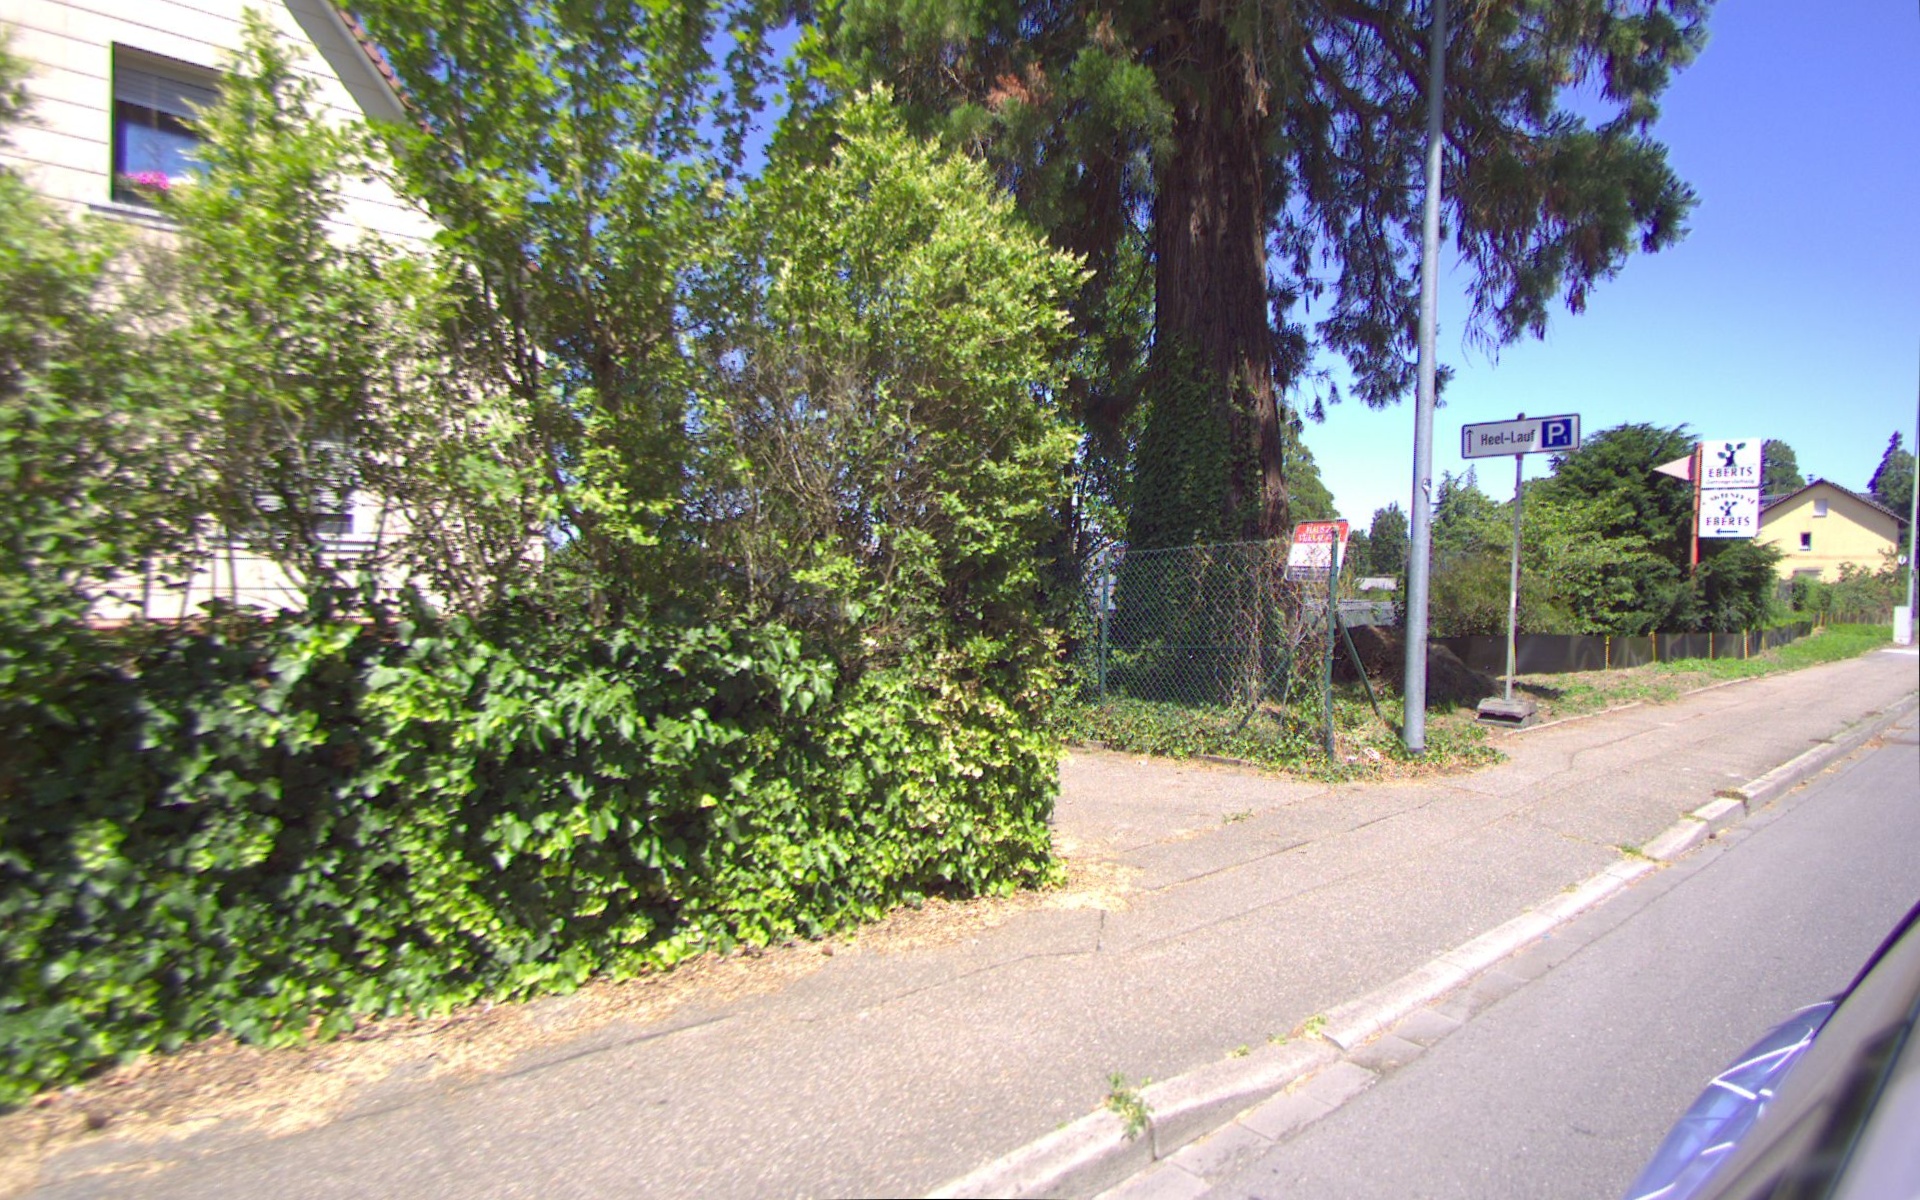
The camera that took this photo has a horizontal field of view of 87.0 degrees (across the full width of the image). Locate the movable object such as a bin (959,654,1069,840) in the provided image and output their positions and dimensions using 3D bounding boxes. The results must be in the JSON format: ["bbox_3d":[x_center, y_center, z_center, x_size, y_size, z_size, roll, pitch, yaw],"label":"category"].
[{"bbox_3d":[0.290,0.791,5.617,0.513,0.939,0.473,-1,0,-7],"label":"movable object such as a bin"}]
